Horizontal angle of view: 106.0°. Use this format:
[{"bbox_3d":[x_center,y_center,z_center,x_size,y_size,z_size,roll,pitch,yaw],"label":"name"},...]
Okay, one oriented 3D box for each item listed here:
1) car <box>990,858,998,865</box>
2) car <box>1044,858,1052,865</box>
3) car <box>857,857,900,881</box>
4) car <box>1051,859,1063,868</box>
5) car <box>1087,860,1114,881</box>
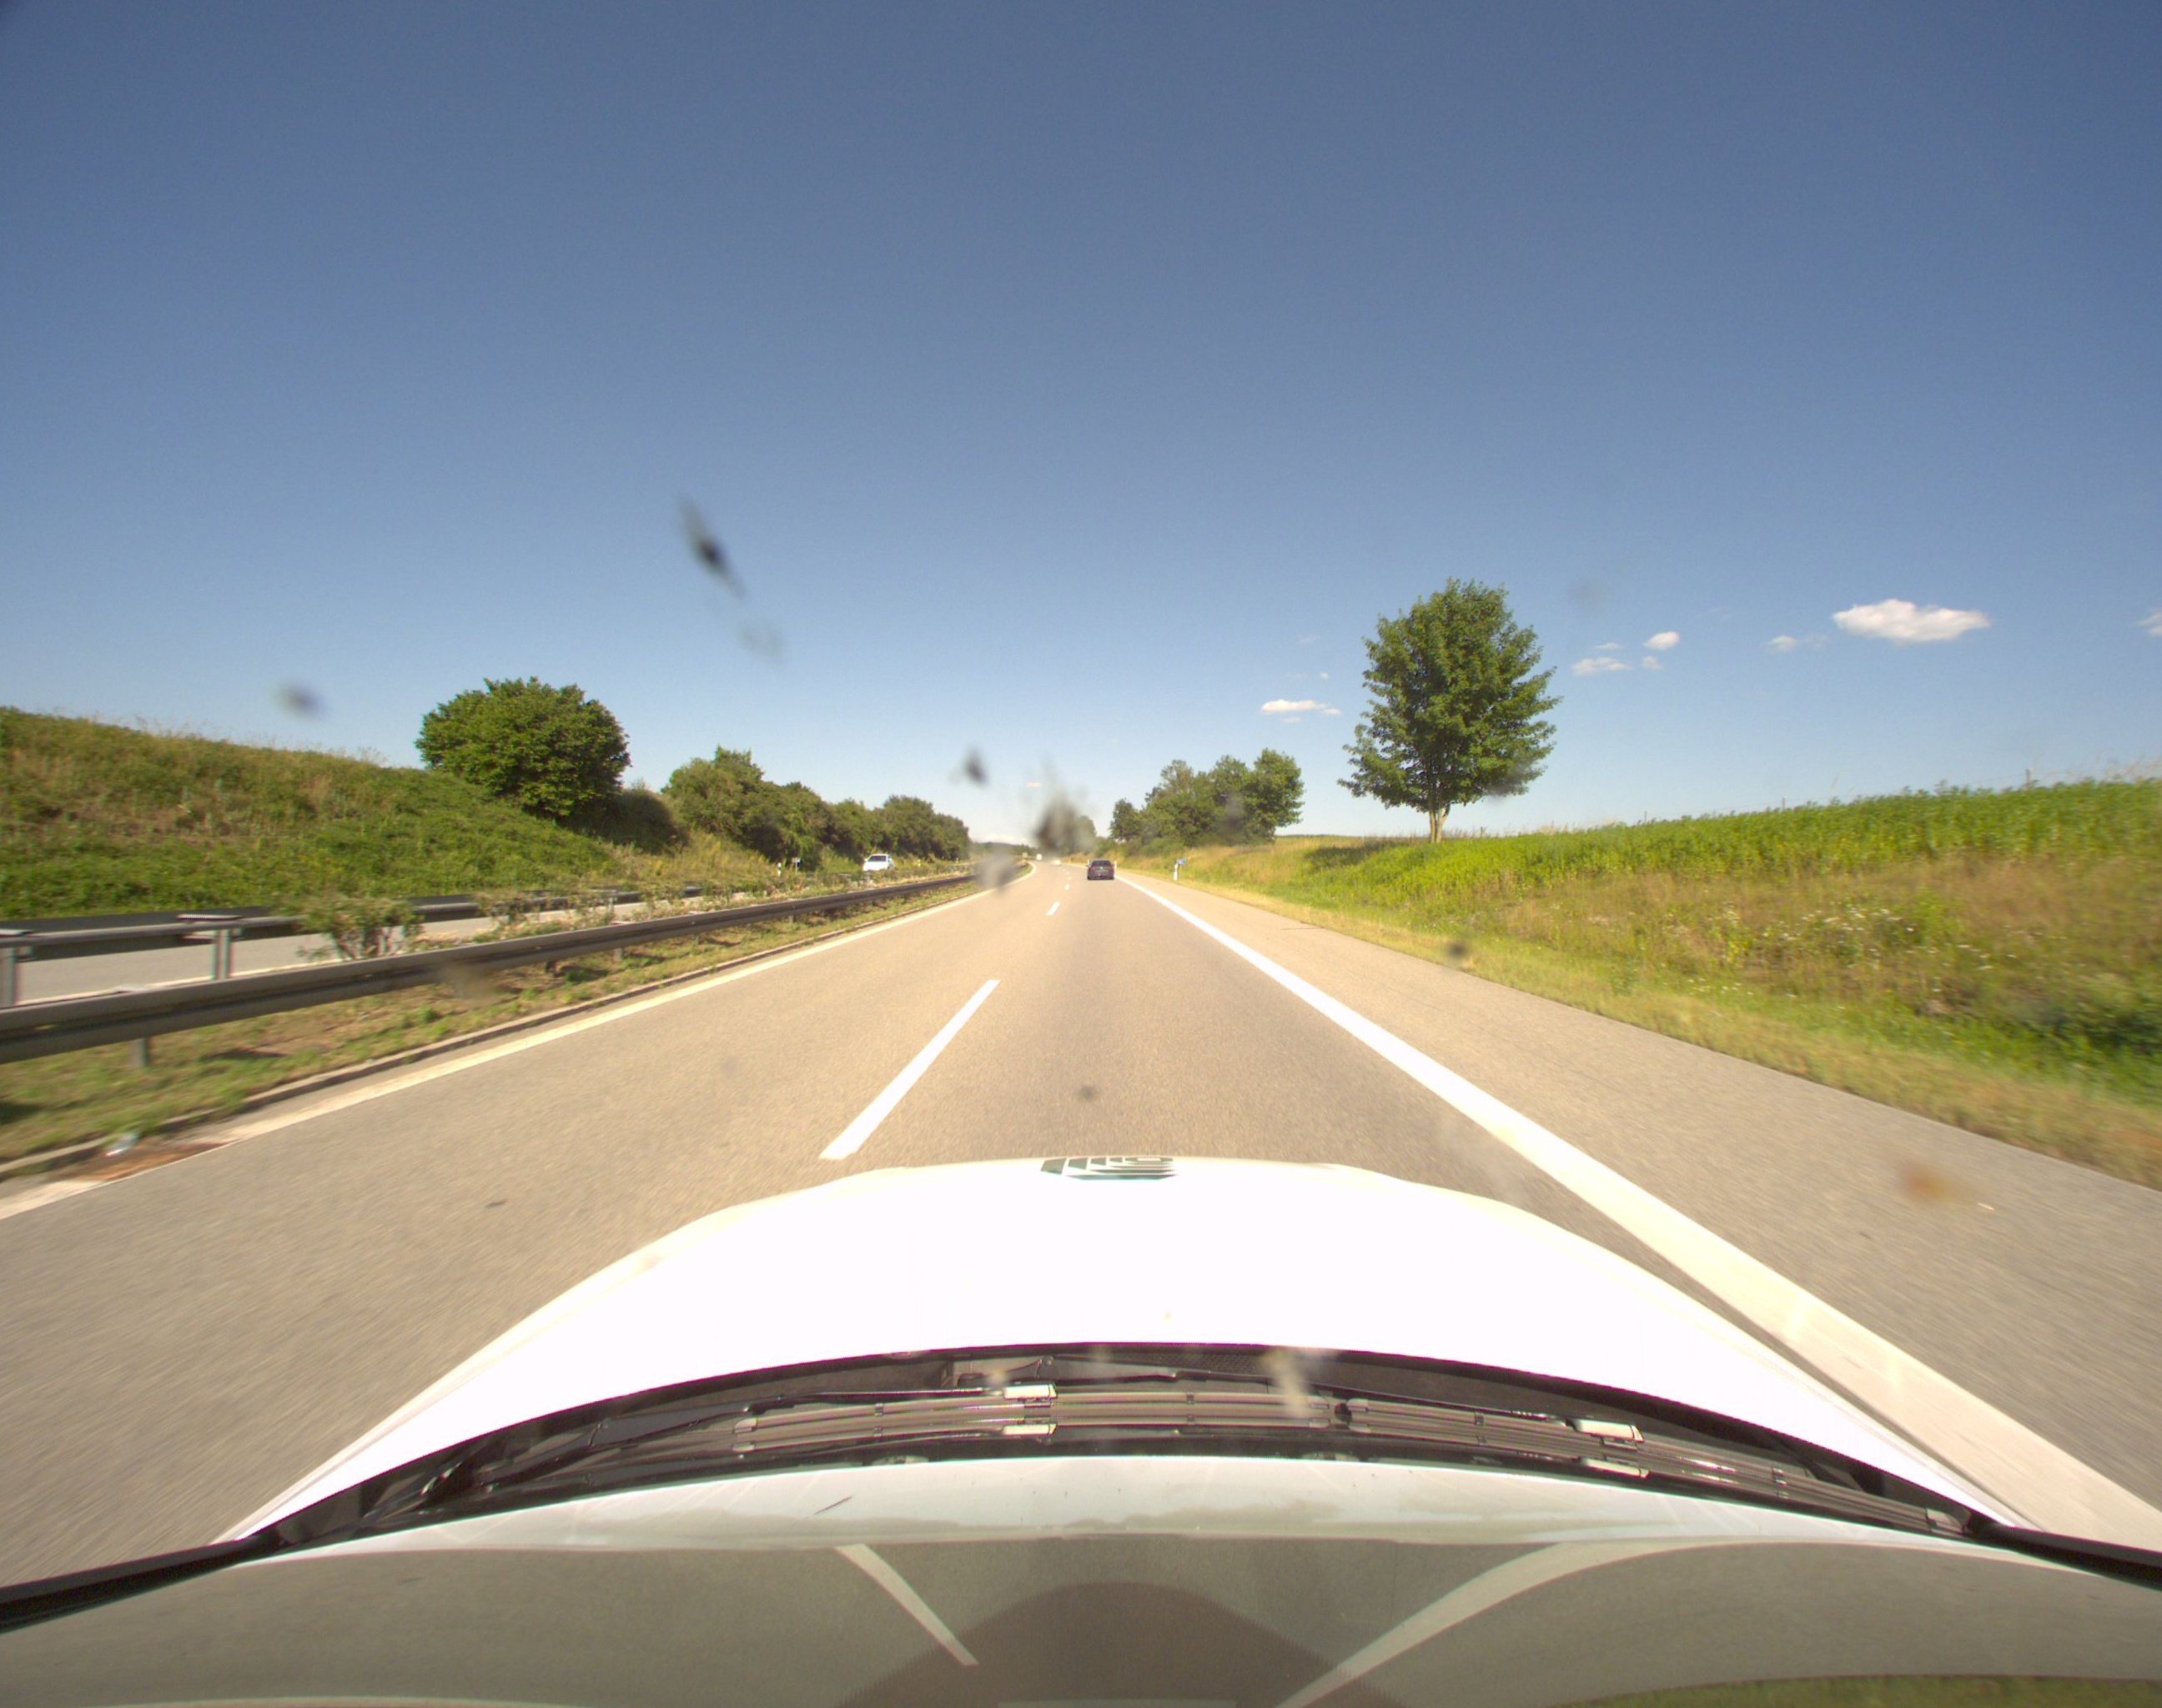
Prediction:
[{"bbox_3d":[-24.602,2.037,230.426,1.989,2.014,4.849,0,-1,-3],"label":"car"},{"bbox_3d":[-7.733,1.820,189.921,1.705,1.387,3.353,5,-2,-1],"label":"car"},{"bbox_3d":[-13.889,1.030,56.107,1.849,1.598,4.001,0,-1,2],"label":"car"},{"bbox_3d":[-4.006,1.596,136.245,2.001,1.344,3.998,0,-1,-1],"label":"car"},{"bbox_3d":[1.313,1.099,56.188,1.785,1.344,3.999,-1,-1,0],"label":"car"}]
